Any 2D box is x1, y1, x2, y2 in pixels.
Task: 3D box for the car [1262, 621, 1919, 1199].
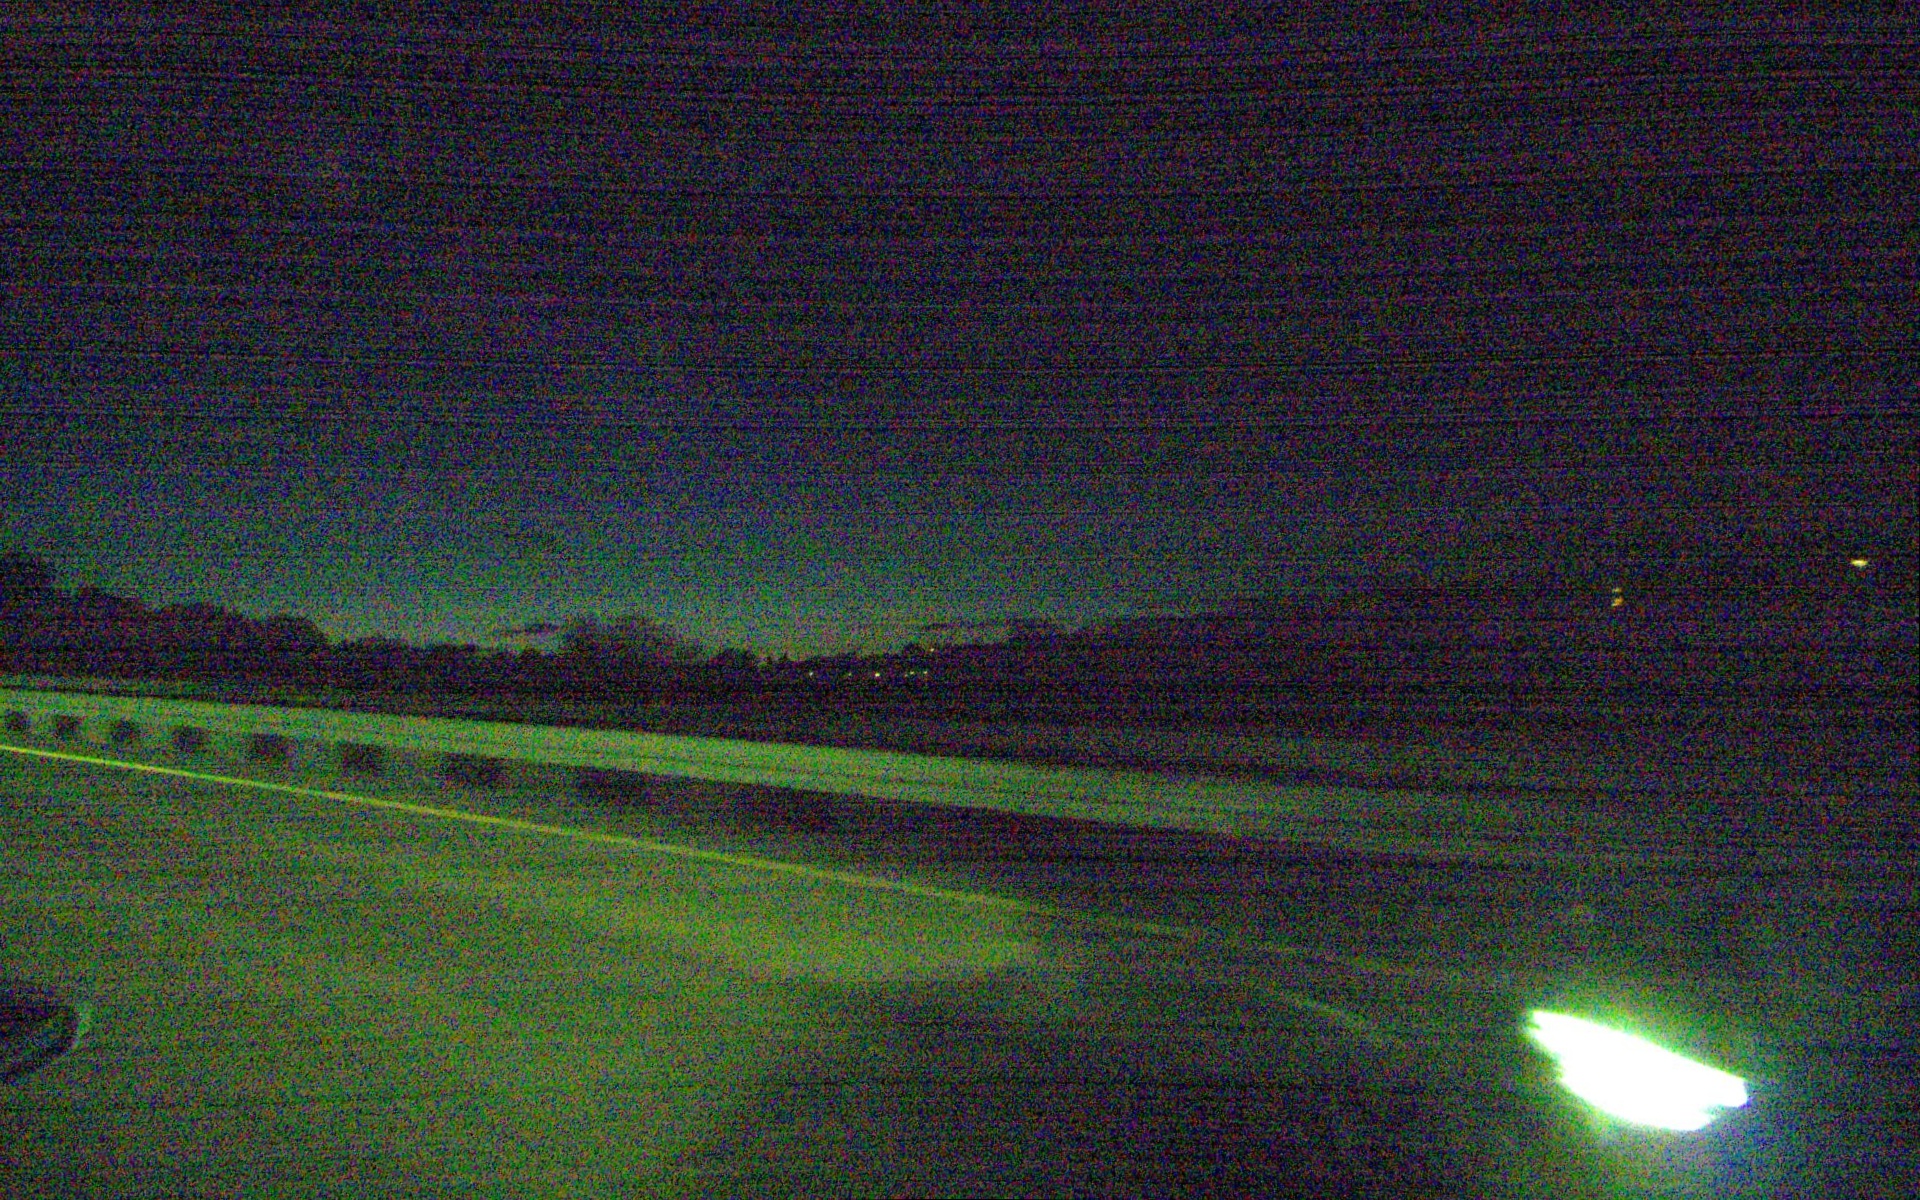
[{"bbox_3d":[3.109,0.779,1.467,4.808,1.445,1.803,-1,0,35],"label":"car"}]
